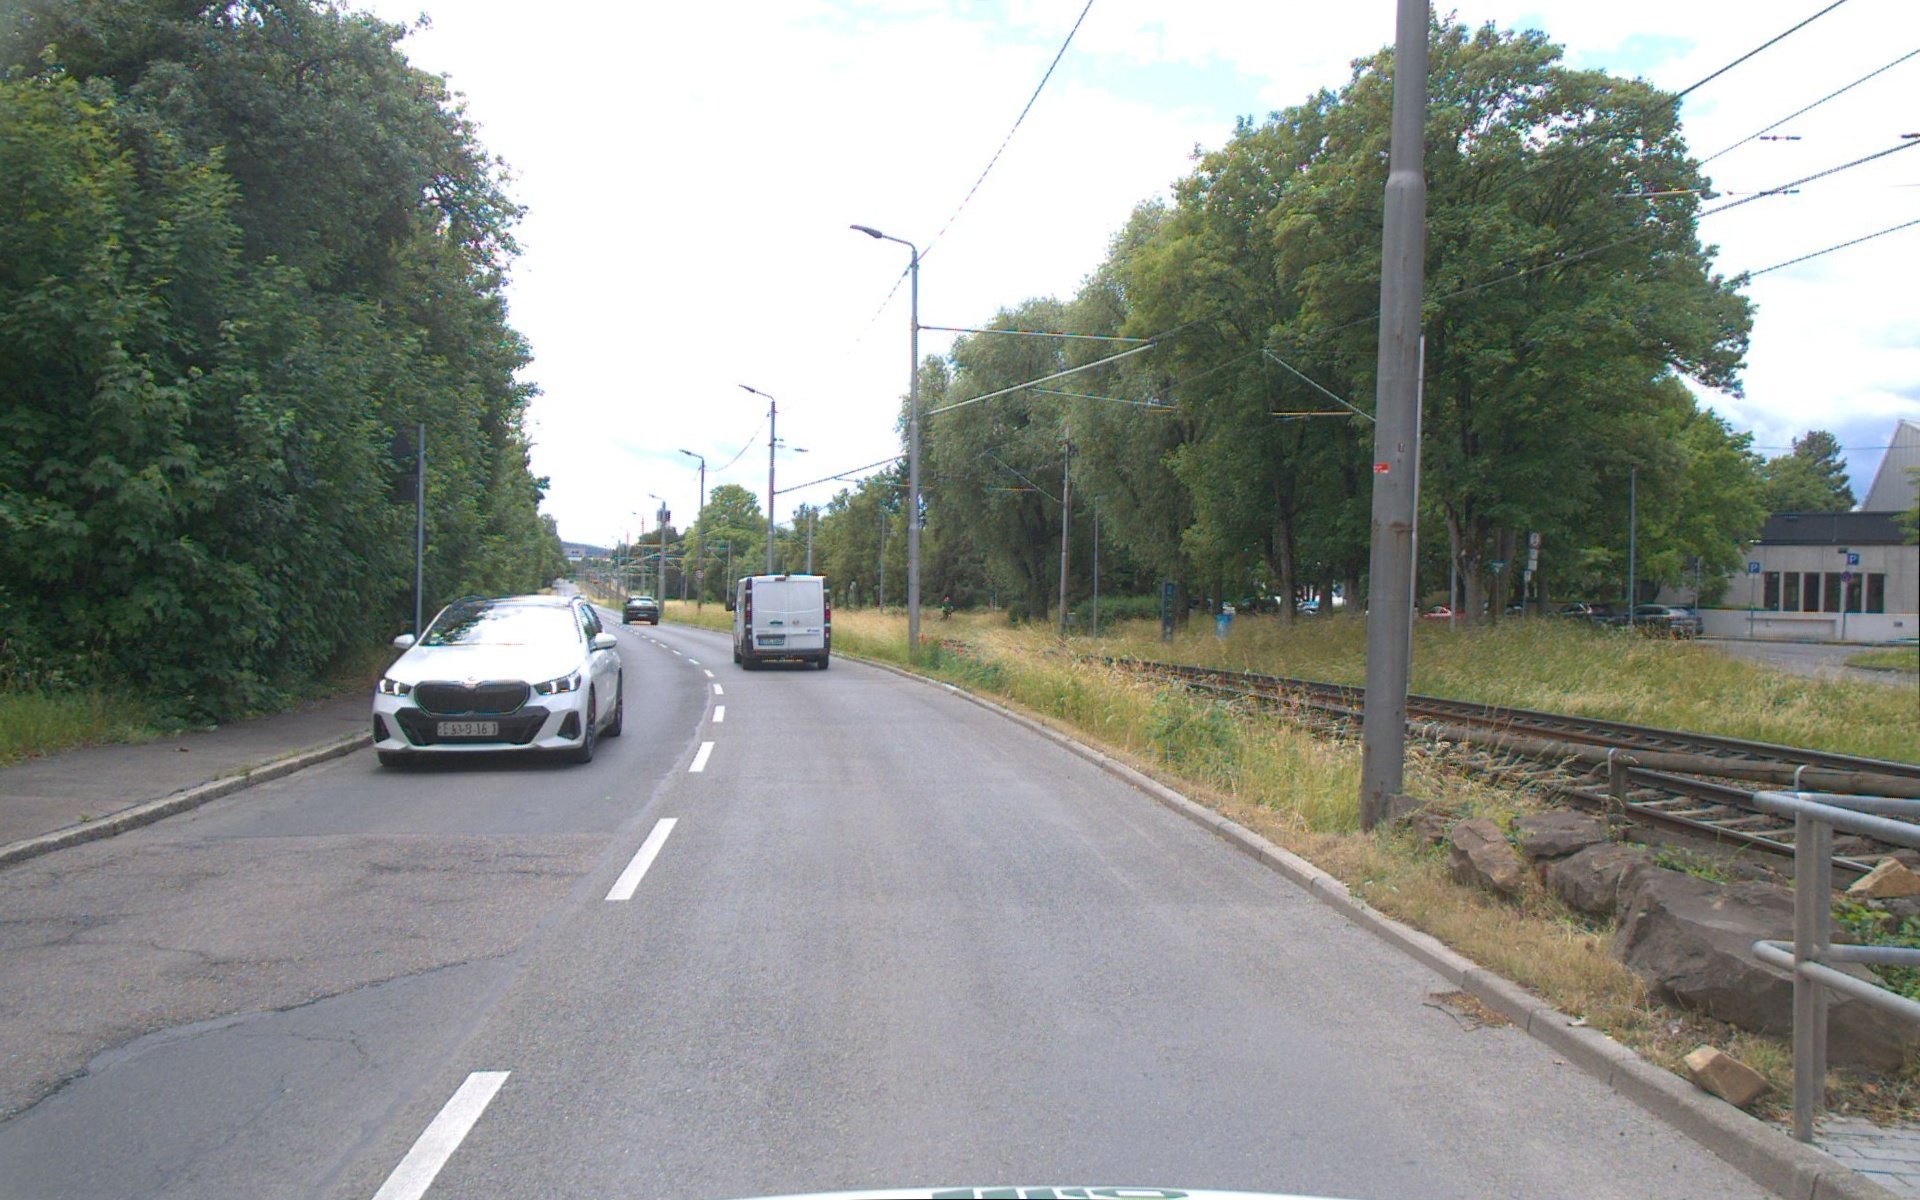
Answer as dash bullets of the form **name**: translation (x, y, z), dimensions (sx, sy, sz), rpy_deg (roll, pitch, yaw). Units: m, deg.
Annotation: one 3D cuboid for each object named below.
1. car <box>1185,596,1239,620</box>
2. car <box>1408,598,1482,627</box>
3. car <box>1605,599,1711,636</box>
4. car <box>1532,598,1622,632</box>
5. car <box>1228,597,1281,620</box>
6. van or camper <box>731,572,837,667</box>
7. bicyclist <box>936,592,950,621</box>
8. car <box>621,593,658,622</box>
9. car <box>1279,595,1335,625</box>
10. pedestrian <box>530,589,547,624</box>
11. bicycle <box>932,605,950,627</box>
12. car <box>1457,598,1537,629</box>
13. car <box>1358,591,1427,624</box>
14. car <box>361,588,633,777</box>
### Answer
- **car**: translation (20.165, 0.671, 132.439), dimensions (1.980, 1.844, 3.944), rpy_deg (1, 0, -39)
- **car**: translation (25.325, 0.634, 86.489), dimensions (1.959, 1.468, 3.986), rpy_deg (1, 0, -14)
- **car**: translation (29.407, 0.716, 69.797), dimensions (1.959, 1.468, 4.331), rpy_deg (1, 0, -13)
- **car**: translation (28.034, 0.653, 75.315), dimensions (1.959, 1.468, 3.986), rpy_deg (1, 0, -14)
- **car**: translation (24.152, 0.708, 135.547), dimensions (1.980, 1.844, 3.944), rpy_deg (1, 0, -39)
- **van or camper**: translation (-3.895, 0.396, 36.011), dimensions (1.907, 1.930, 4.272), rpy_deg (-1, 0, -11)
- **bicyclist**: translation (-1.043, 0.403, 99.224), dimensions (0.571, 1.726, 0.931), rpy_deg (1, 0, -17)
- **car**: translation (-18.672, 0.424, 96.335), dimensions (1.960, 1.621, 3.986), rpy_deg (0, 0, -14)
- **car**: translation (21.484, 0.604, 102.671), dimensions (1.958, 1.729, 3.988), rpy_deg (2, 0, -12)
- **pedestrian**: translation (-22.762, 0.344, 89.308), dimensions (0.854, 1.800, 0.785), rpy_deg (-2, 1, -17)
- **bicycle**: translation (-1.143, 0.955, 99.505), dimensions (0.571, 1.268, 1.920), rpy_deg (1, 0, -17)
- **car**: translation (26.434, 0.669, 81.594), dimensions (1.959, 1.468, 3.986), rpy_deg (1, 0, -14)
- **car**: translation (24.044, 0.418, 92.048), dimensions (1.959, 1.729, 4.214), rpy_deg (2, 0, -13)
- **car**: translation (-4.396, 0.689, 16.409), dimensions (1.893, 1.548, 4.651), rpy_deg (-1, 0, -7)
